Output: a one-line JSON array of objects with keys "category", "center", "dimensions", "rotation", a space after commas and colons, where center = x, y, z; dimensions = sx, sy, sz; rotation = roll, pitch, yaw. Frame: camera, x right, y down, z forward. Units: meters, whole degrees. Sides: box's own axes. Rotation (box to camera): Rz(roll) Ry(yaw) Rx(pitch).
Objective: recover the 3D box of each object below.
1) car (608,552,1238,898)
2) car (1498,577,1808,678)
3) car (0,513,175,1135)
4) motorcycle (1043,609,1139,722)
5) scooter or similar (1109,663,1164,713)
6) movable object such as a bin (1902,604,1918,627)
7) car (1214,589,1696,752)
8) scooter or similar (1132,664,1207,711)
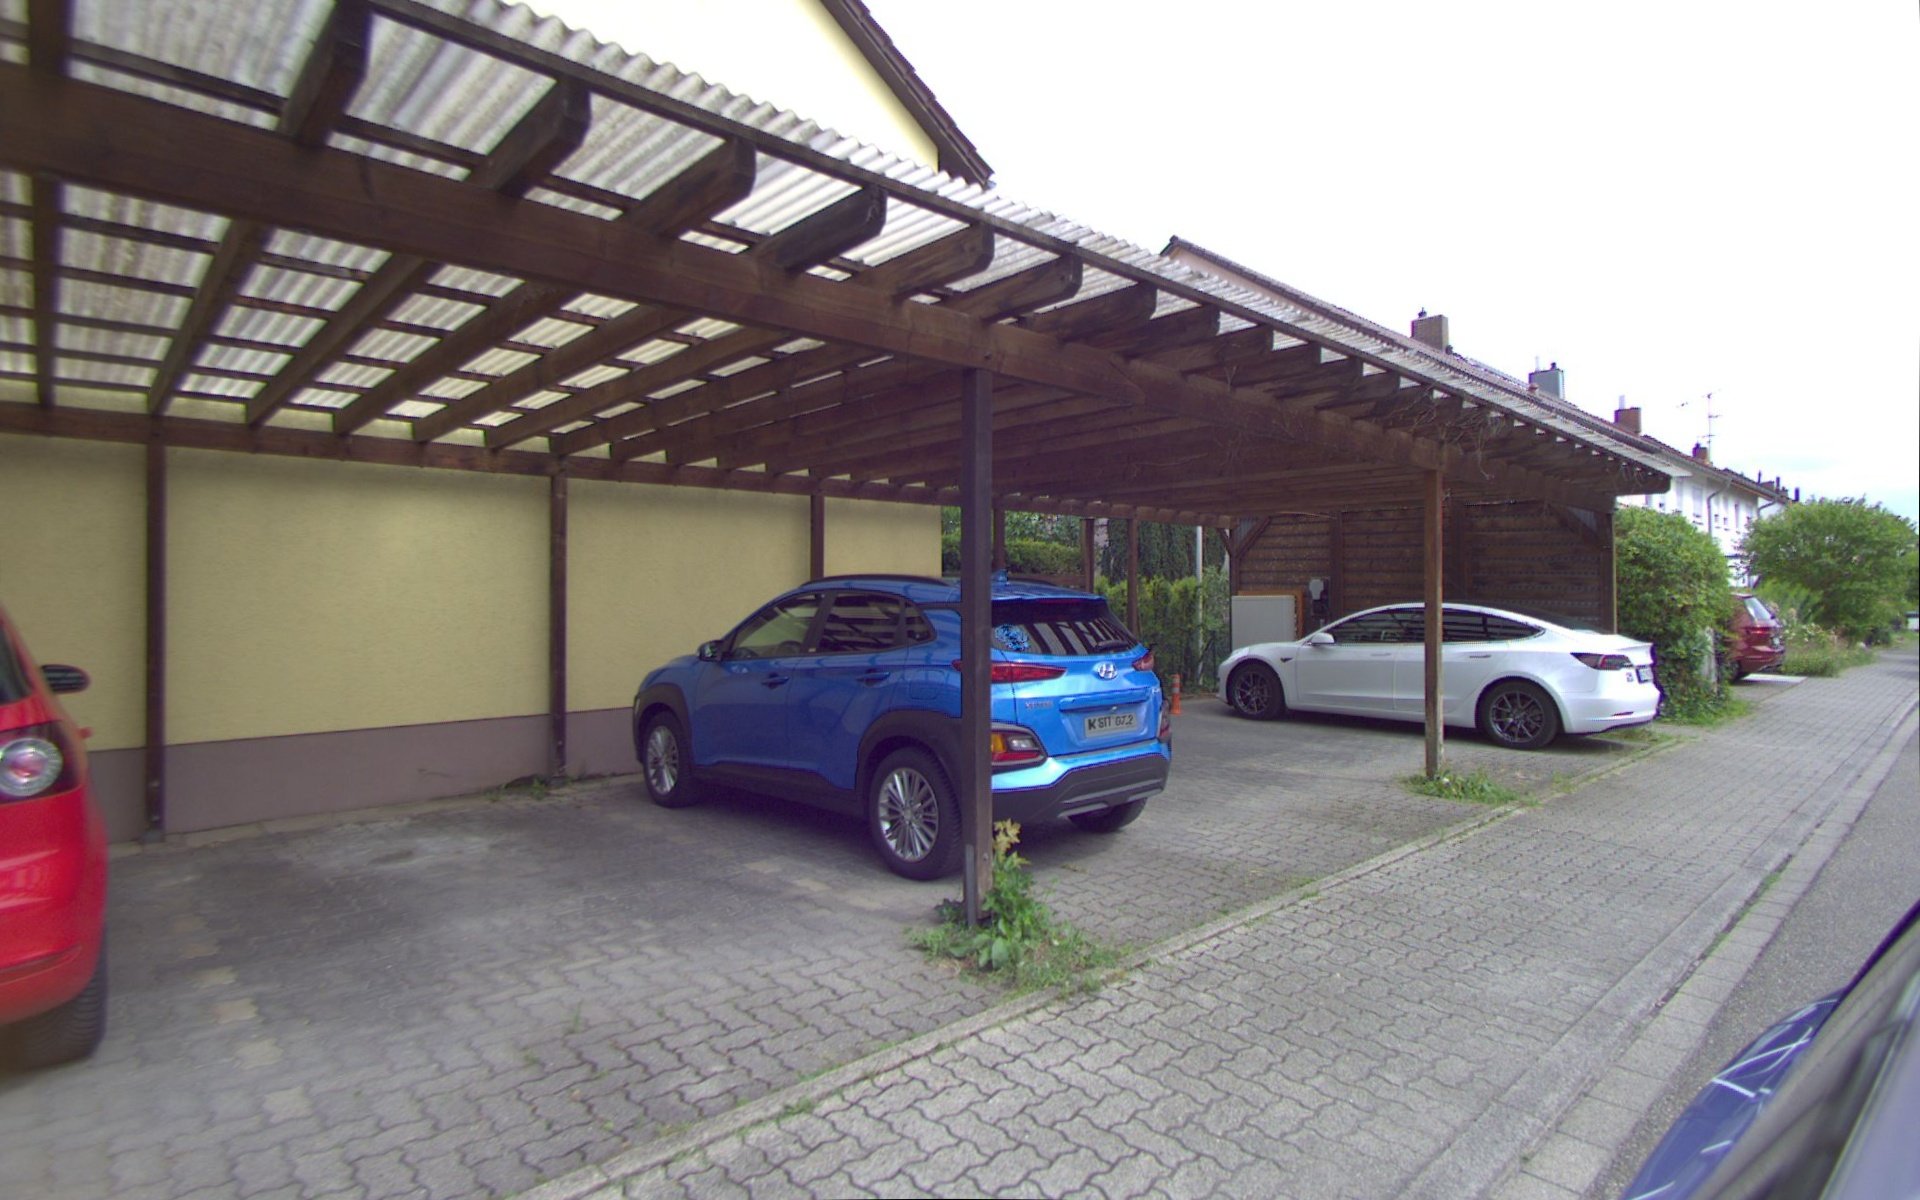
[{"category": "car", "center": [-0.474, 0.554, 6.650], "dimensions": [4.047, 1.542, 1.919], "rotation": [0, 0, 45]}, {"category": "car", "center": [12.272, 0.418, 18.123], "dimensions": [1.901, 1.580, 4.276], "rotation": [0, 0, -42]}, {"category": "car", "center": [-4.191, 0.562, 3.548], "dimensions": [1.809, 1.559, 3.958], "rotation": [0, 0, -45]}, {"category": "motorcycle", "center": [1.562, 0.731, 11.921], "dimensions": [0.353, 1.247, 1.456], "rotation": [-1, -1, 42]}, {"category": "scooter or similar", "center": [2.118, 1.053, 12.167], "dimensions": [0.233, 0.558, 0.641], "rotation": [0, -1, -44]}, {"category": "movable object such as a bin", "center": [39.671, 0.645, 42.269], "dimensions": [0.431, 0.933, 0.458], "rotation": [-3, -2, 42]}, {"category": "car", "center": [5.310, 0.624, 11.303], "dimensions": [1.994, 1.451, 4.452], "rotation": [0, 0, -44]}, {"category": "scooter or similar", "center": [2.579, 1.067, 12.490], "dimensions": [0.335, 0.524, 0.861], "rotation": [0, -1, -44]}]
